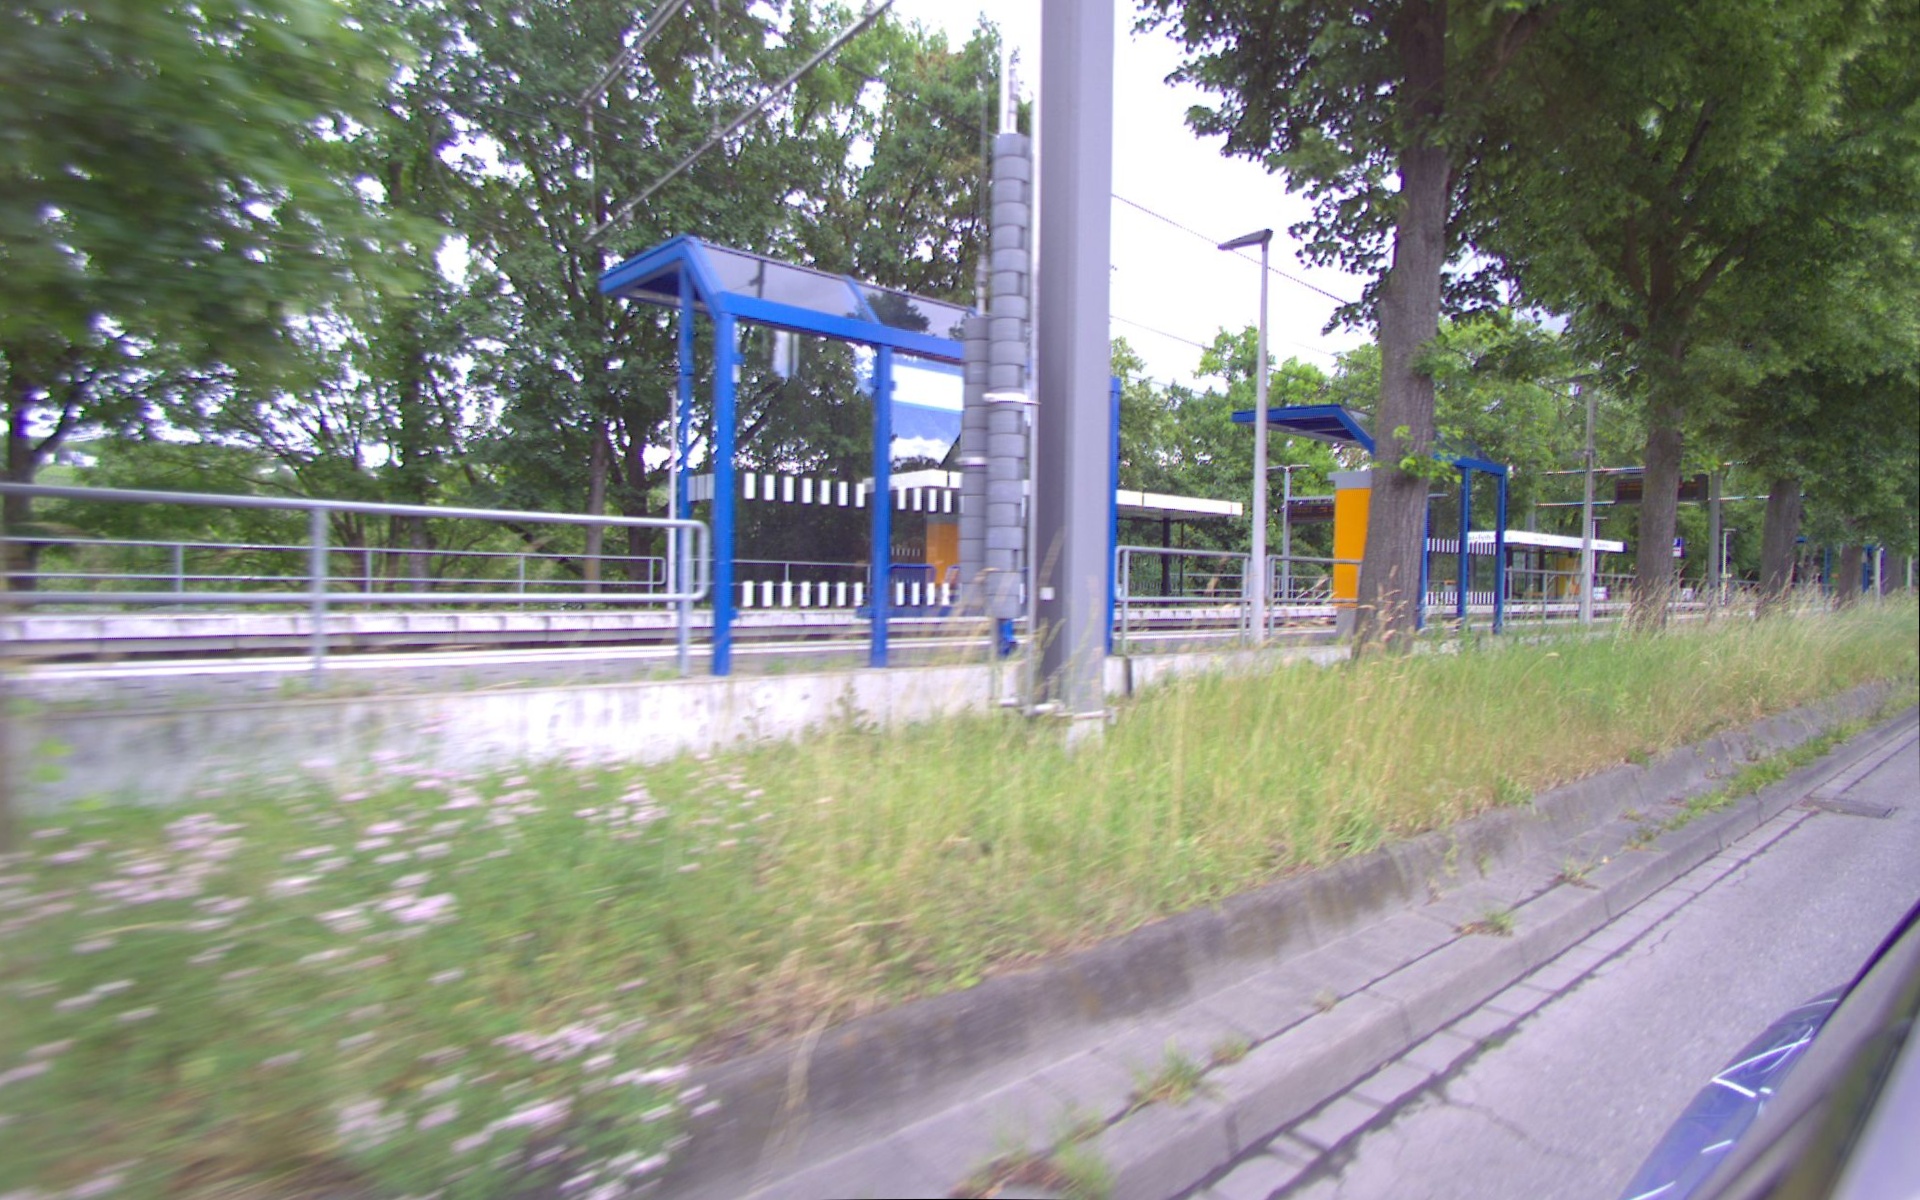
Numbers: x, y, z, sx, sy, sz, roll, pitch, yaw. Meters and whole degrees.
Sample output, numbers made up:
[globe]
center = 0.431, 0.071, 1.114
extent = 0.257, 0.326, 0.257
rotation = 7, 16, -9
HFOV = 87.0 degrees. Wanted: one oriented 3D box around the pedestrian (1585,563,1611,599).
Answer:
[pedestrian]
center = 27.876, -0.838, 44.221
extent = 0.711, 1.530, 0.720
rotation = -1, 0, -38
